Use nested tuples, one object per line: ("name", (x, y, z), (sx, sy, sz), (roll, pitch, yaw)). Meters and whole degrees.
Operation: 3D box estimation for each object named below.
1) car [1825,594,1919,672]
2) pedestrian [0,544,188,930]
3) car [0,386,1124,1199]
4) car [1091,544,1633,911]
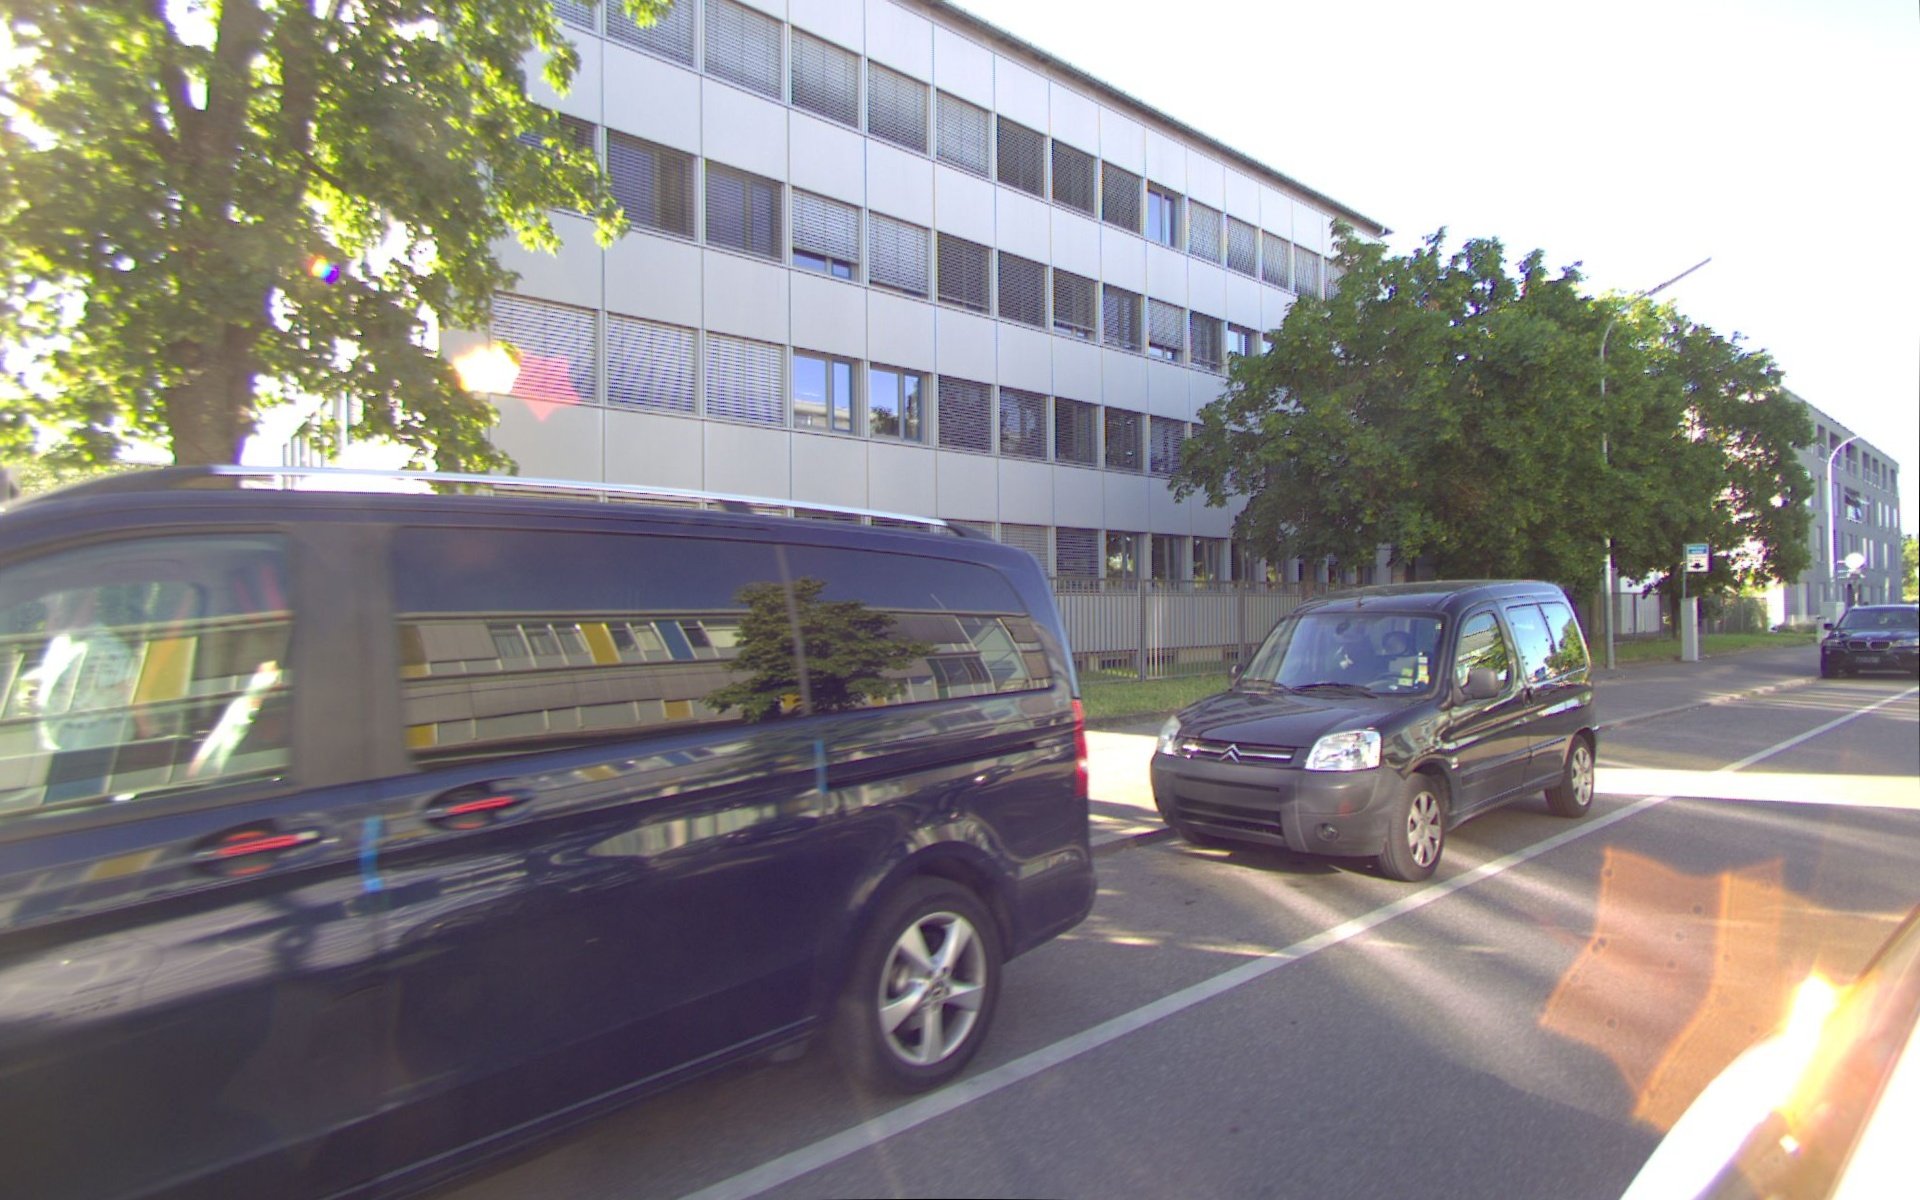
("car", (21.541, 0.713, 23.218), (4.219, 1.646, 1.888), (0, -2, -41))
("pedestrian", (-4.354, 0.617, 5.039), (0.762, 1.750, 0.692), (0, 0, -41))
("car", (-1.811, 0.611, 2.852), (4.938, 1.894, 1.865), (0, -3, -44))
("car", (2.992, 0.659, 7.065), (4.219, 1.818, 1.704), (0, -3, -41))
